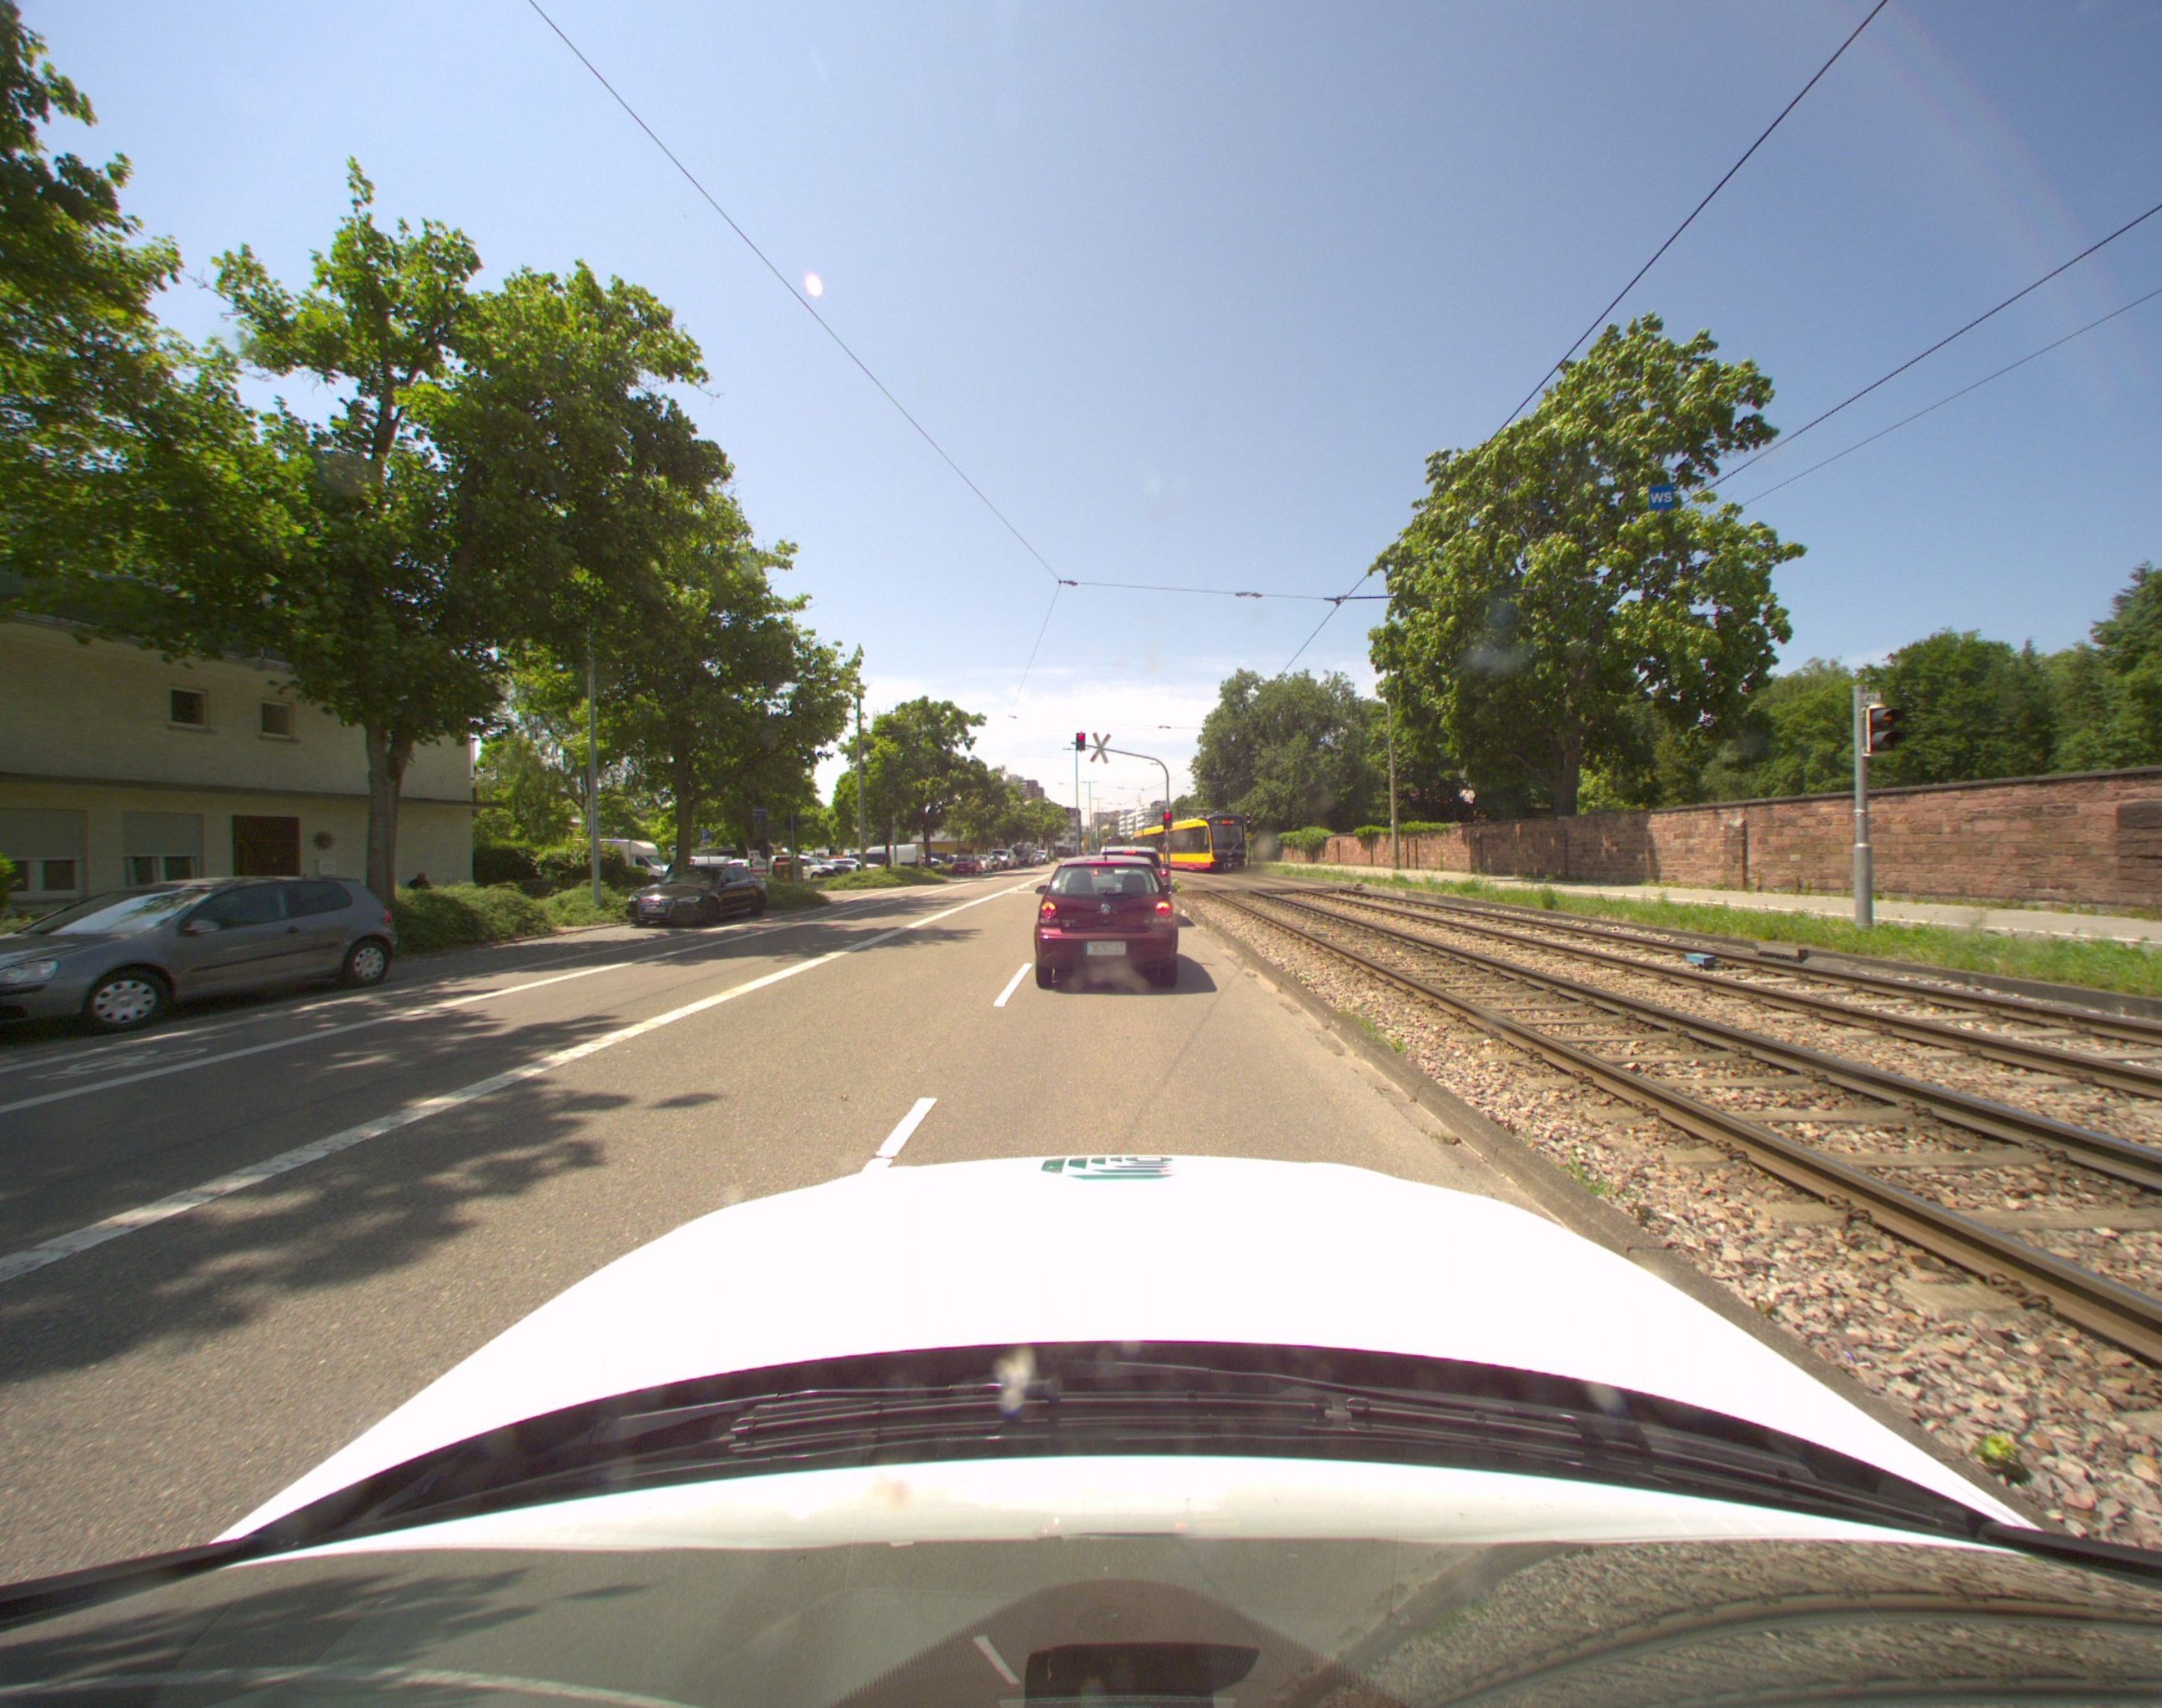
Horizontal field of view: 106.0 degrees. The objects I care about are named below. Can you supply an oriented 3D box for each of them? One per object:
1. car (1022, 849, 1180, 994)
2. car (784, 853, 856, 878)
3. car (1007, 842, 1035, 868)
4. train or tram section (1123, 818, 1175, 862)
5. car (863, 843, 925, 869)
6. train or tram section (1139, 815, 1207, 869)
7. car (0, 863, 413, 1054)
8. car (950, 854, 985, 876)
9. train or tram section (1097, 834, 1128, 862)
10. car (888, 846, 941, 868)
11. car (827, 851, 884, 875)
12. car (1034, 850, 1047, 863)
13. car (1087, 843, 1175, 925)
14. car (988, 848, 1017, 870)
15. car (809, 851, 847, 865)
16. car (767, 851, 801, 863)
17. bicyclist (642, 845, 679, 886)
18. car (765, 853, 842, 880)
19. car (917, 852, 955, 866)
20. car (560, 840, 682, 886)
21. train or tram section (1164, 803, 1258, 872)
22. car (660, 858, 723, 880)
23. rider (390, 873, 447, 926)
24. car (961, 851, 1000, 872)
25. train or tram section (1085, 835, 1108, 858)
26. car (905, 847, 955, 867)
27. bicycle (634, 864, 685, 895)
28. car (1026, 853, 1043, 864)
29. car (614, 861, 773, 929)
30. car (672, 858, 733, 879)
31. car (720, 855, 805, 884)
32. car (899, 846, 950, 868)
[{"bbox_3d":[0.257,0.707,10.624,1.666,1.521,4.001,0,0,1],"label":"car"},{"bbox_3d":[-18.190,0.806,56.892,4.319,1.585,1.917,-2,0,8],"label":"car"},{"bbox_3d":[-6.417,0.092,88.381,2.352,2.692,5.311,1,-1,3],"label":"car"},{"bbox_3d":[6.239,-1.265,77.352,3.022,3.797,12.743,-1,0,-4],"label":"train or tram section"},{"bbox_3d":[-17.299,0.205,75.350,5.076,2.244,2.380,1,-1,3],"label":"car"},{"bbox_3d":[7.029,-0.899,64.565,3.022,3.797,13.072,-1,0,-4],"label":"train or tram section"},{"bbox_3d":[-10.161,0.924,9.131,1.812,1.564,4.183,0,0,2],"label":"car"},{"bbox_3d":[-8.104,0.766,58.566,1.655,1.497,4.004,1,0,4],"label":"car"},{"bbox_3d":[4.296,-0.839,112.974,2.736,3.609,12.848,1,0,-5],"label":"train or tram section"},{"bbox_3d":[-17.695,0.297,86.811,5.076,2.244,2.380,1,-1,3],"label":"car"},{"bbox_3d":[-17.943,0.697,64.926,3.973,1.746,1.999,-2,0,0],"label":"car"},{"bbox_3d":[-5.563,0.361,111.659,1.771,1.828,3.995,1,-1,-3],"label":"car"},{"bbox_3d":[1.065,0.598,18.538,1.770,1.647,4.001,0,0,1],"label":"car"},{"bbox_3d":[-7.194,0.466,75.345,1.774,1.881,4.792,1,-1,5],"label":"car"},{"bbox_3d":[-31.276,0.529,100.780,4.006,1.617,1.816,1,-1,0],"label":"car"},{"bbox_3d":[-40.587,0.392,111.355,4.003,1.617,1.818,1,-1,3],"label":"car"},{"bbox_3d":[-14.696,0.400,28.503,0.805,1.374,0.829,1,-1,5],"label":"bicyclist"},{"bbox_3d":[-18.406,0.827,54.108,4.319,1.585,1.917,-2,0,7],"label":"car"},{"bbox_3d":[-17.112,0.553,96.171,4.003,1.617,1.818,1,-1,3],"label":"car"},{"bbox_3d":[-31.225,0.589,55.419,6.828,2.965,2.364,1,-1,0],"label":"car"},{"bbox_3d":[7.842,-0.946,51.557,3.022,3.797,13.072,-1,0,-4],"label":"train or tram section"},{"bbox_3d":[-30.183,1.150,63.193,3.982,1.653,1.812,1,-1,-7],"label":"car"},{"bbox_3d":[-17.807,1.209,21.900,0.820,1.374,0.814,-2,0,10],"label":"rider"},{"bbox_3d":[-7.984,0.613,65.118,1.965,1.601,4.566,1,0,7],"label":"car"},{"bbox_3d":[2.480,-1.259,134.794,2.736,3.609,10.931,1,0,-5],"label":"train or tram section"},{"bbox_3d":[-16.969,0.344,91.653,5.076,2.244,2.380,1,-1,3],"label":"car"},{"bbox_3d":[-14.724,0.864,28.513,0.697,1.029,1.832,1,-1,5],"label":"bicycle"},{"bbox_3d":[-6.037,0.621,105.657,1.606,1.441,4.006,1,0,6],"label":"car"},{"bbox_3d":[-9.701,0.949,20.825,1.812,1.476,4.451,0,0,2],"label":"car"},{"bbox_3d":[-30.447,1.165,65.611,3.982,1.653,1.812,1,-1,-7],"label":"car"},{"bbox_3d":[-19.142,0.933,49.101,4.329,1.585,1.912,-2,0,-1],"label":"car"},{"bbox_3d":[-17.092,0.323,89.164,5.076,2.244,2.380,1,-1,3],"label":"car"}]
